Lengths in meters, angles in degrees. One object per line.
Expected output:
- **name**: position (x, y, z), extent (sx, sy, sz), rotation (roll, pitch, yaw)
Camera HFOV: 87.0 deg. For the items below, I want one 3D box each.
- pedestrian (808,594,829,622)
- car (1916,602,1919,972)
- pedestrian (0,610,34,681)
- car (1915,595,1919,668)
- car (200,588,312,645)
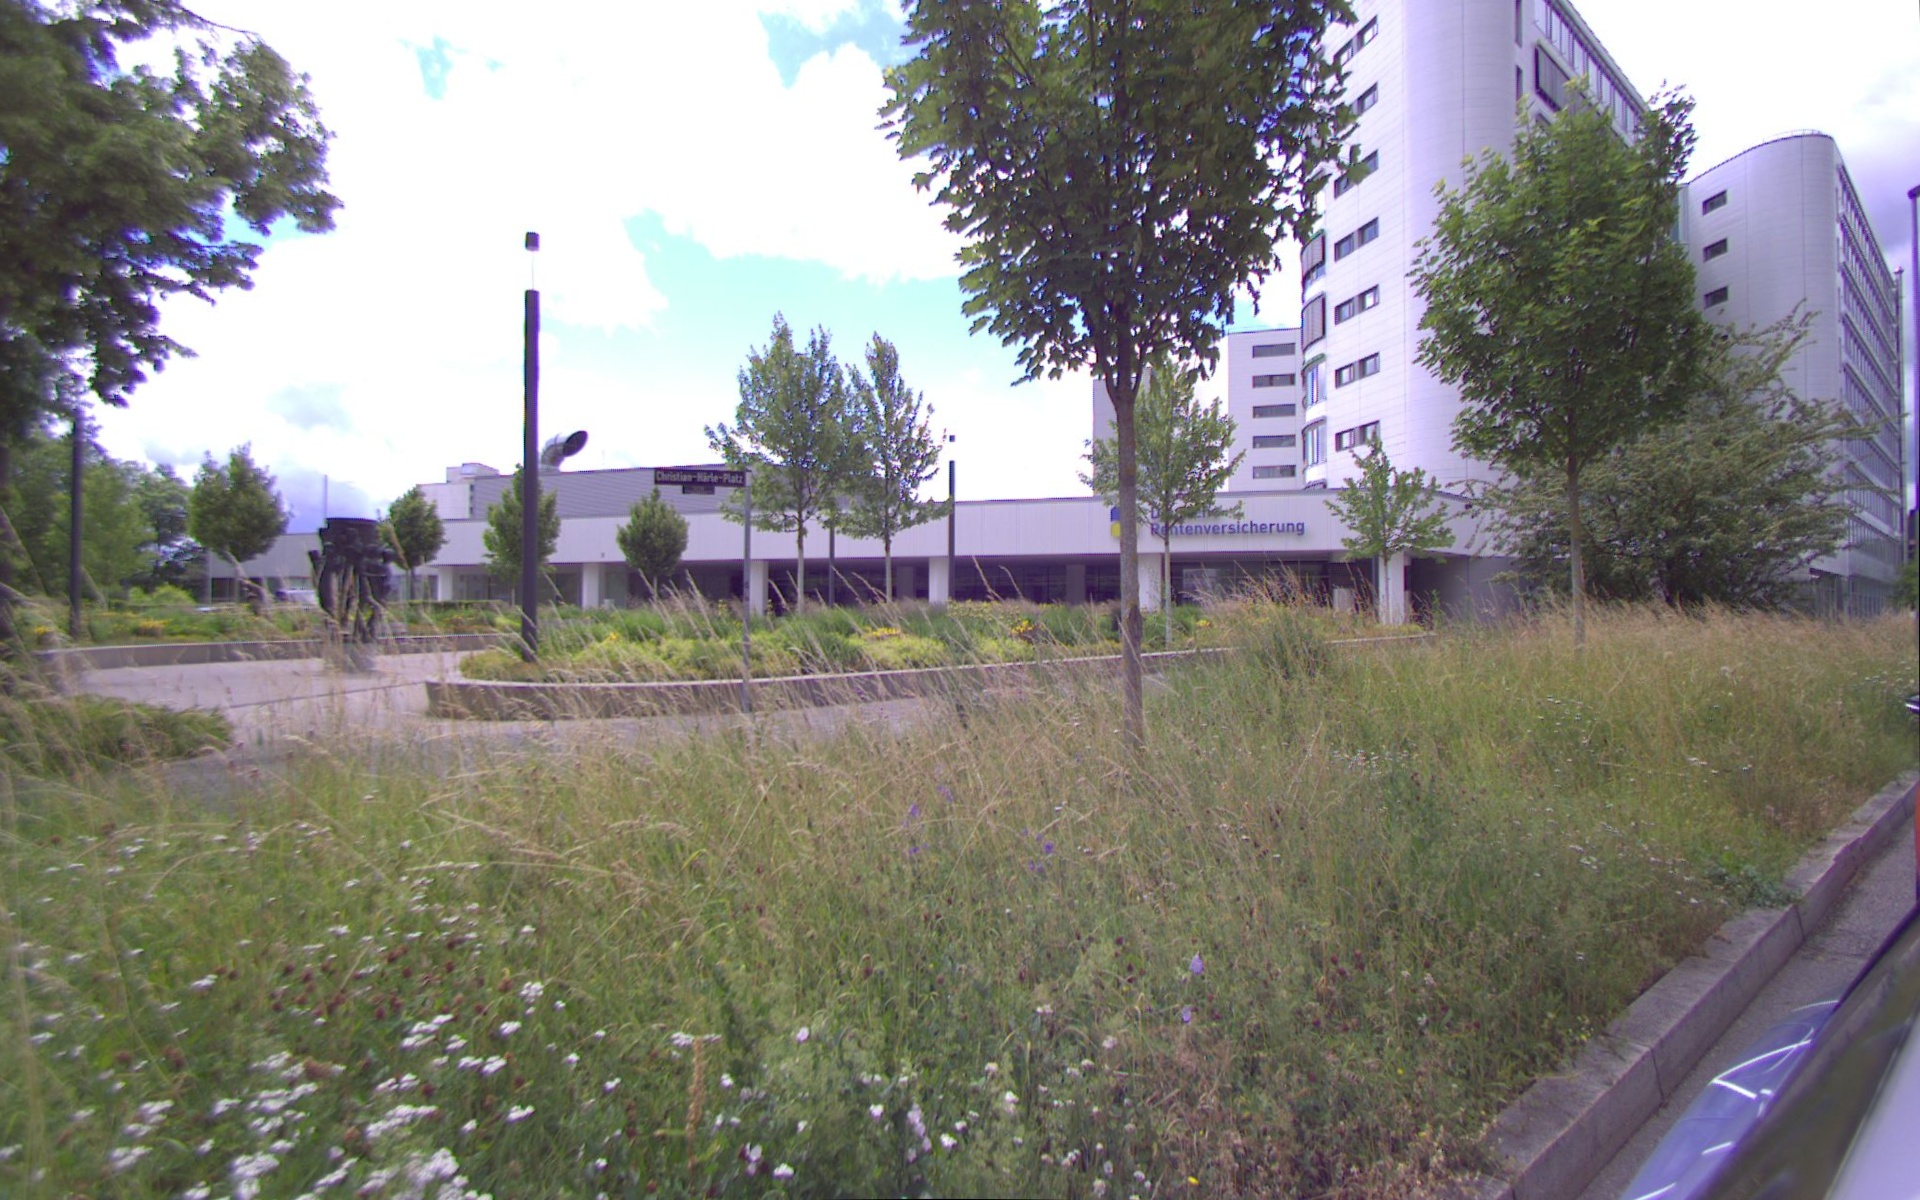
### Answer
- **pedestrian**: position (-6.521, 0.375, 46.675), extent (0.869, 1.290, 0.704), rotation (1, 0, 2)
- **car**: position (5.908, 0.742, 4.745), extent (3.930, 1.498, 1.691), rotation (-1, 0, -41)
- **pedestrian**: position (-17.471, 0.834, 18.670), extent (0.560, 1.278, 0.581), rotation (0, 0, -43)
- **car**: position (22.603, 0.697, 22.481), extent (3.386, 1.594, 1.736), rotation (0, 0, -42)
- **car**: position (-23.388, 0.513, 33.612), extent (3.470, 1.788, 1.622), rotation (0, 0, 27)
